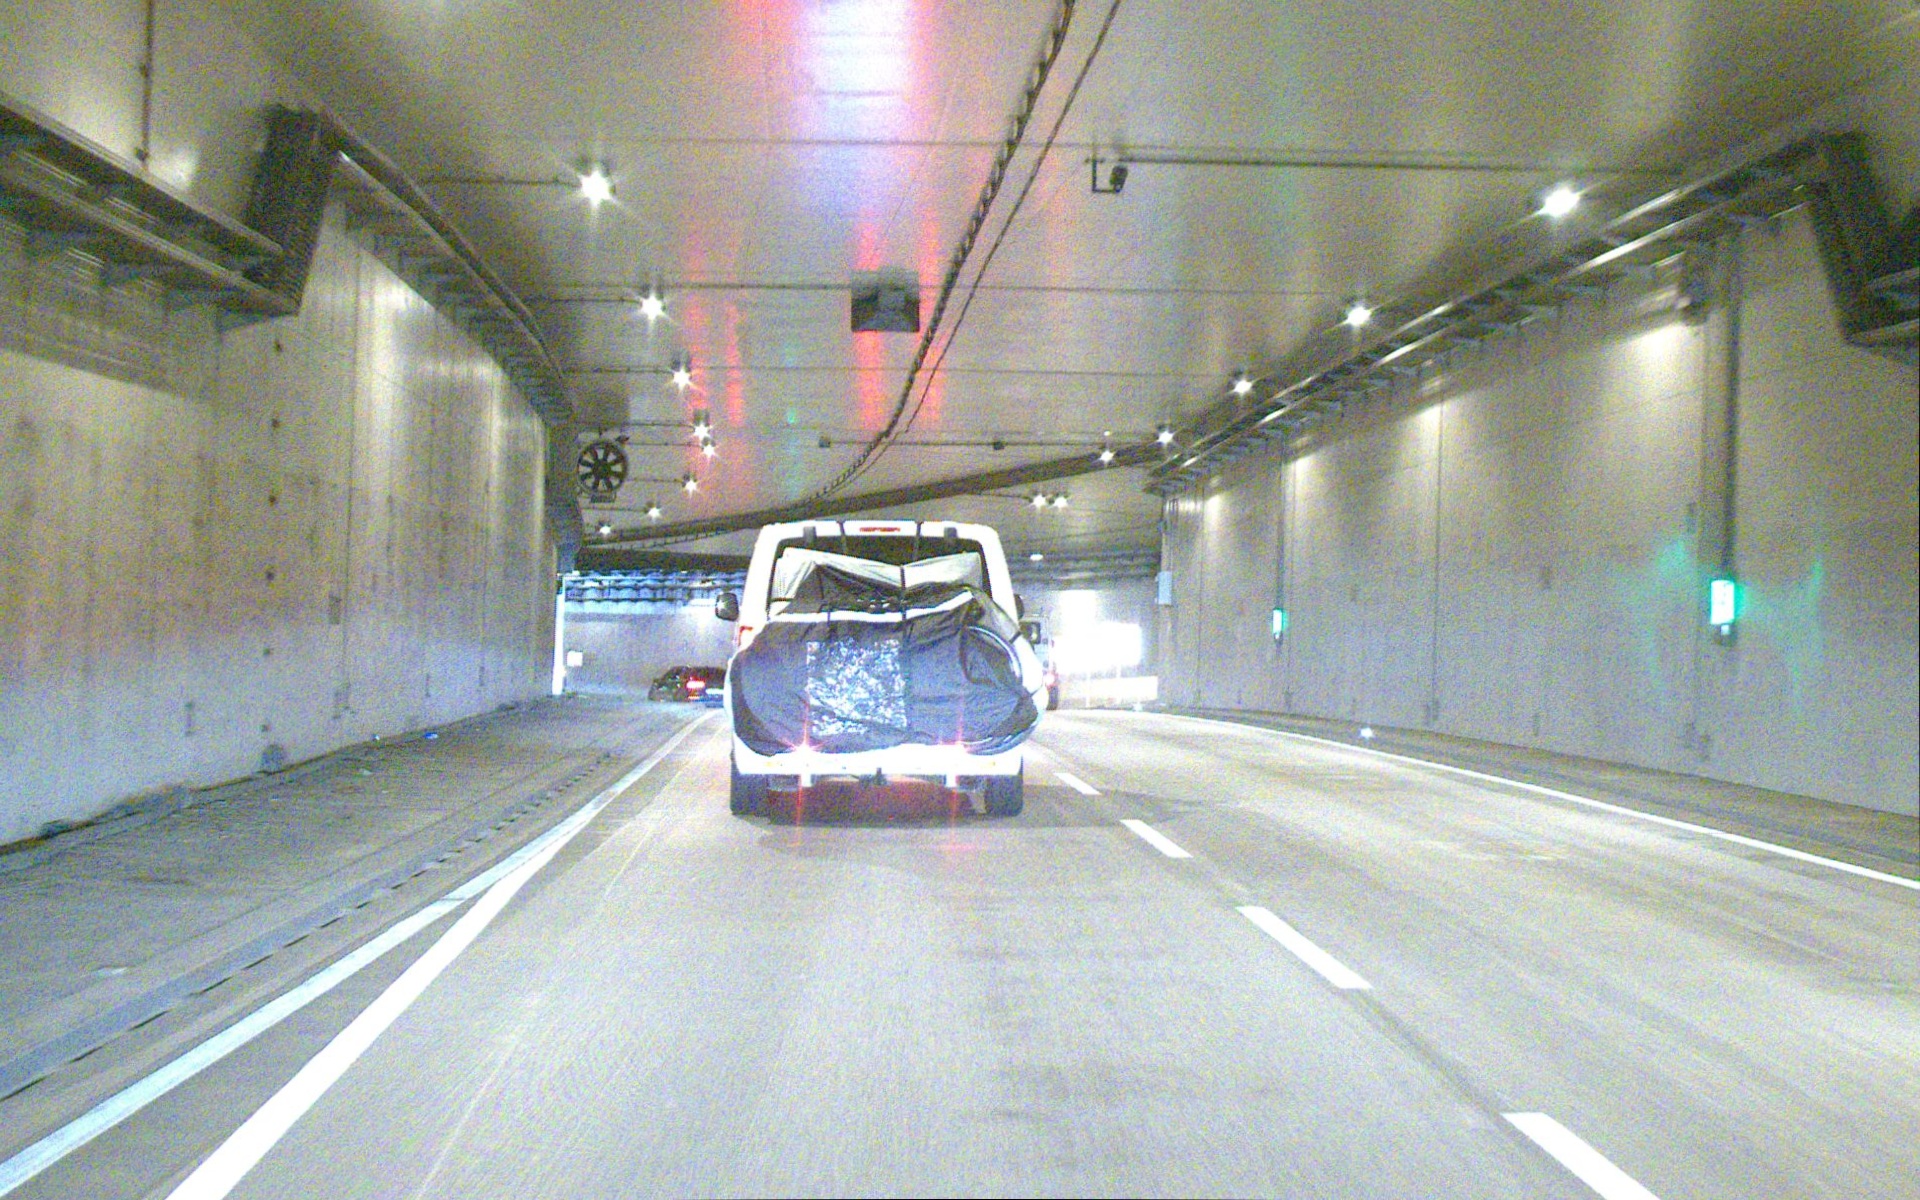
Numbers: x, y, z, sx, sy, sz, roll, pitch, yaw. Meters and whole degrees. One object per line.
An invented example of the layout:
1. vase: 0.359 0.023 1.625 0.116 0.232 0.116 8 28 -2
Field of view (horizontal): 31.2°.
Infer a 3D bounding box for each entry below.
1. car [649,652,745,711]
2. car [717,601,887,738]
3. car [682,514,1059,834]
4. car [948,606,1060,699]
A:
1. car: -7.931 2.430 103.398 1.822 1.625 3.844 4 -2 -20
2. car: -1.756 0.743 37.307 1.602 1.391 3.277 1 -1 -6
3. car: -0.728 0.429 22.633 1.993 1.841 5.302 1 0 -7
4. car: 0.757 0.945 61.455 1.602 1.625 3.356 0 -1 -6
